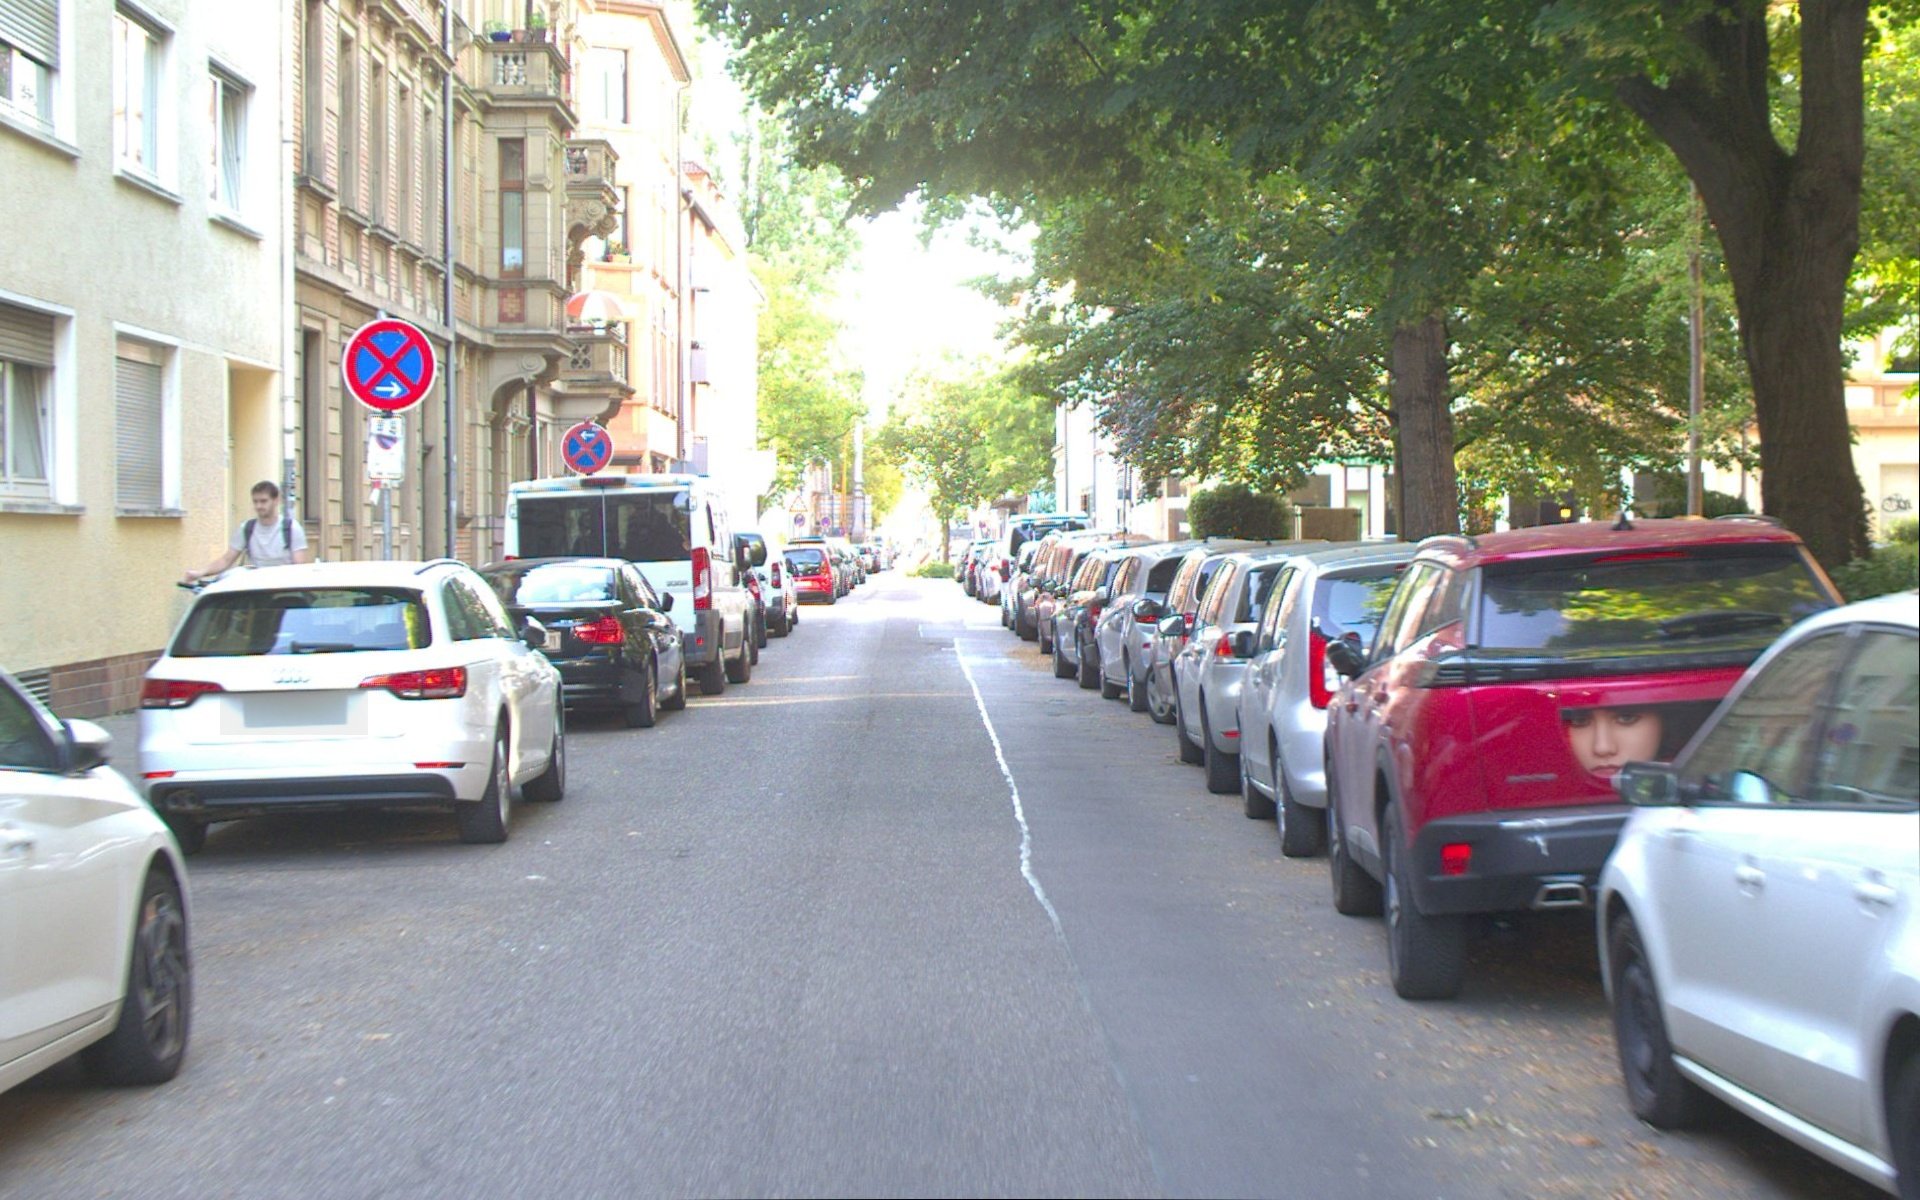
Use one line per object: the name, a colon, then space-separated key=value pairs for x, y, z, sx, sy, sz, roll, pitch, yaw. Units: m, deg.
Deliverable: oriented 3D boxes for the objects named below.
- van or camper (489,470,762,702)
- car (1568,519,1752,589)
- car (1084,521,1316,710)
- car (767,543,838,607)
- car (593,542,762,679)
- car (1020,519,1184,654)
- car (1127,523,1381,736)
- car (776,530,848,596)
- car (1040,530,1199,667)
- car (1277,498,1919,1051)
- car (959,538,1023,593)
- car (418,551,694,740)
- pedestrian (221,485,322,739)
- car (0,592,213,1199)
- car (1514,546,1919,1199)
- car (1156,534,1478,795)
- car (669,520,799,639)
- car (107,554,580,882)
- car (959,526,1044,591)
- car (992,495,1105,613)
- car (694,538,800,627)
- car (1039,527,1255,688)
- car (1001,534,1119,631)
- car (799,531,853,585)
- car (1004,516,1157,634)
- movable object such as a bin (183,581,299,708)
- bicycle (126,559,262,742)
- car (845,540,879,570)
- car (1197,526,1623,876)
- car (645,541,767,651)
van or camper: x=-3.373 y=-0.189 z=35.684 sx=2.177 sy=2.140 sz=5.154 roll=-2 pitch=1 yaw=1
car: x=15.488 y=-1.012 z=76.185 sx=3.855 sy=1.468 sz=1.633 roll=0 pitch=-1 yaw=6
car: x=2.147 y=0.126 z=31.625 sx=1.599 sy=1.500 sz=3.628 roll=-5 pitch=1 yaw=-3
car: x=-3.912 y=-0.642 z=85.763 sx=1.628 sy=1.476 sz=3.601 roll=-2 pitch=1 yaw=-1
car: x=-3.401 y=0.090 z=41.995 sx=1.766 sy=1.509 sz=4.194 roll=-2 pitch=1 yaw=-1
car: x=1.874 y=-0.181 z=46.402 sx=1.618 sy=1.619 sz=3.864 roll=-5 pitch=1 yaw=-5
car: x=2.295 y=0.204 z=27.577 sx=1.599 sy=1.463 sz=3.564 roll=-5 pitch=1 yaw=0
car: x=-4.316 y=-1.101 z=100.871 sx=1.743 sy=1.805 sz=4.672 roll=-2 pitch=1 yaw=1
car: x=1.925 y=-0.033 z=42.418 sx=1.619 sy=1.481 sz=3.776 roll=-5 pitch=1 yaw=-1
car: x=2.219 y=0.522 z=12.738 sx=1.664 sy=1.580 sz=4.100 roll=-5 pitch=1 yaw=1
car: x=0.893 y=-1.032 z=100.641 sx=1.676 sy=1.501 sz=3.938 roll=-2 pitch=1 yaw=-1
car: x=-3.361 y=0.329 z=29.323 sx=1.731 sy=1.397 sz=4.315 roll=-2 pitch=1 yaw=1
pedestrian: x=-5.006 y=0.074 z=25.035 sx=0.488 sy=1.797 sz=1.115 roll=2 pitch=1 yaw=-2
car: x=-3.134 y=0.737 z=8.410 sx=1.709 sy=1.412 sz=3.803 roll=-3 pitch=1 yaw=0
car: x=2.567 y=0.642 z=7.922 sx=1.664 sy=1.514 sz=3.952 roll=-5 pitch=1 yaw=-2
car: x=2.218 y=0.363 z=22.229 sx=1.599 sy=1.465 sz=3.869 roll=-3 pitch=1 yaw=0
car: x=-3.671 y=-0.374 z=56.514 sx=1.831 sy=1.805 sz=4.572 roll=-2 pitch=1 yaw=-1
car: x=-3.160 y=0.527 z=18.500 sx=1.731 sy=1.451 sz=4.522 roll=-2 pitch=1 yaw=-1
car: x=1.003 y=-1.049 z=85.512 sx=1.743 sy=1.501 sz=4.358 roll=-2 pitch=1 yaw=-3
car: x=1.622 y=-0.861 z=63.039 sx=1.914 sy=1.991 sz=4.792 roll=-2 pitch=1 yaw=1
car: x=-3.809 y=-0.344 z=61.993 sx=1.692 sy=1.476 sz=3.973 roll=-2 pitch=1 yaw=-1
car: x=1.893 y=0.061 z=36.176 sx=1.675 sy=1.436 sz=4.696 roll=-5 pitch=1 yaw=-3
car: x=1.648 y=-0.325 z=57.885 sx=1.719 sy=1.565 sz=3.829 roll=-1 pitch=1 yaw=-2
car: x=-4.658 y=-1.492 z=120.031 sx=1.765 sy=1.779 sz=4.039 roll=-2 pitch=1 yaw=-1
car: x=1.807 y=-0.377 z=52.854 sx=1.739 sy=1.597 sz=4.265 roll=-5 pitch=1 yaw=-5
movable object such as a bin: x=-6.217 y=0.378 z=29.738 sx=0.836 sy=1.084 sz=0.675 roll=0 pitch=0 yaw=3
bicycle: x=-5.545 y=0.343 z=24.977 sx=0.570 sy=1.239 sz=1.845 roll=2 pitch=1 yaw=-2
car: x=-5.120 y=-2.341 z=179.559 sx=1.676 sy=1.482 sz=4.095 roll=-2 pitch=1 yaw=-1
car: x=2.233 y=0.456 z=17.924 sx=1.599 sy=1.500 sz=3.720 roll=-5 pitch=1 yaw=0
car: x=-3.798 y=-0.094 z=51.726 sx=1.692 sy=1.509 sz=3.974 roll=-2 pitch=1 yaw=-3
